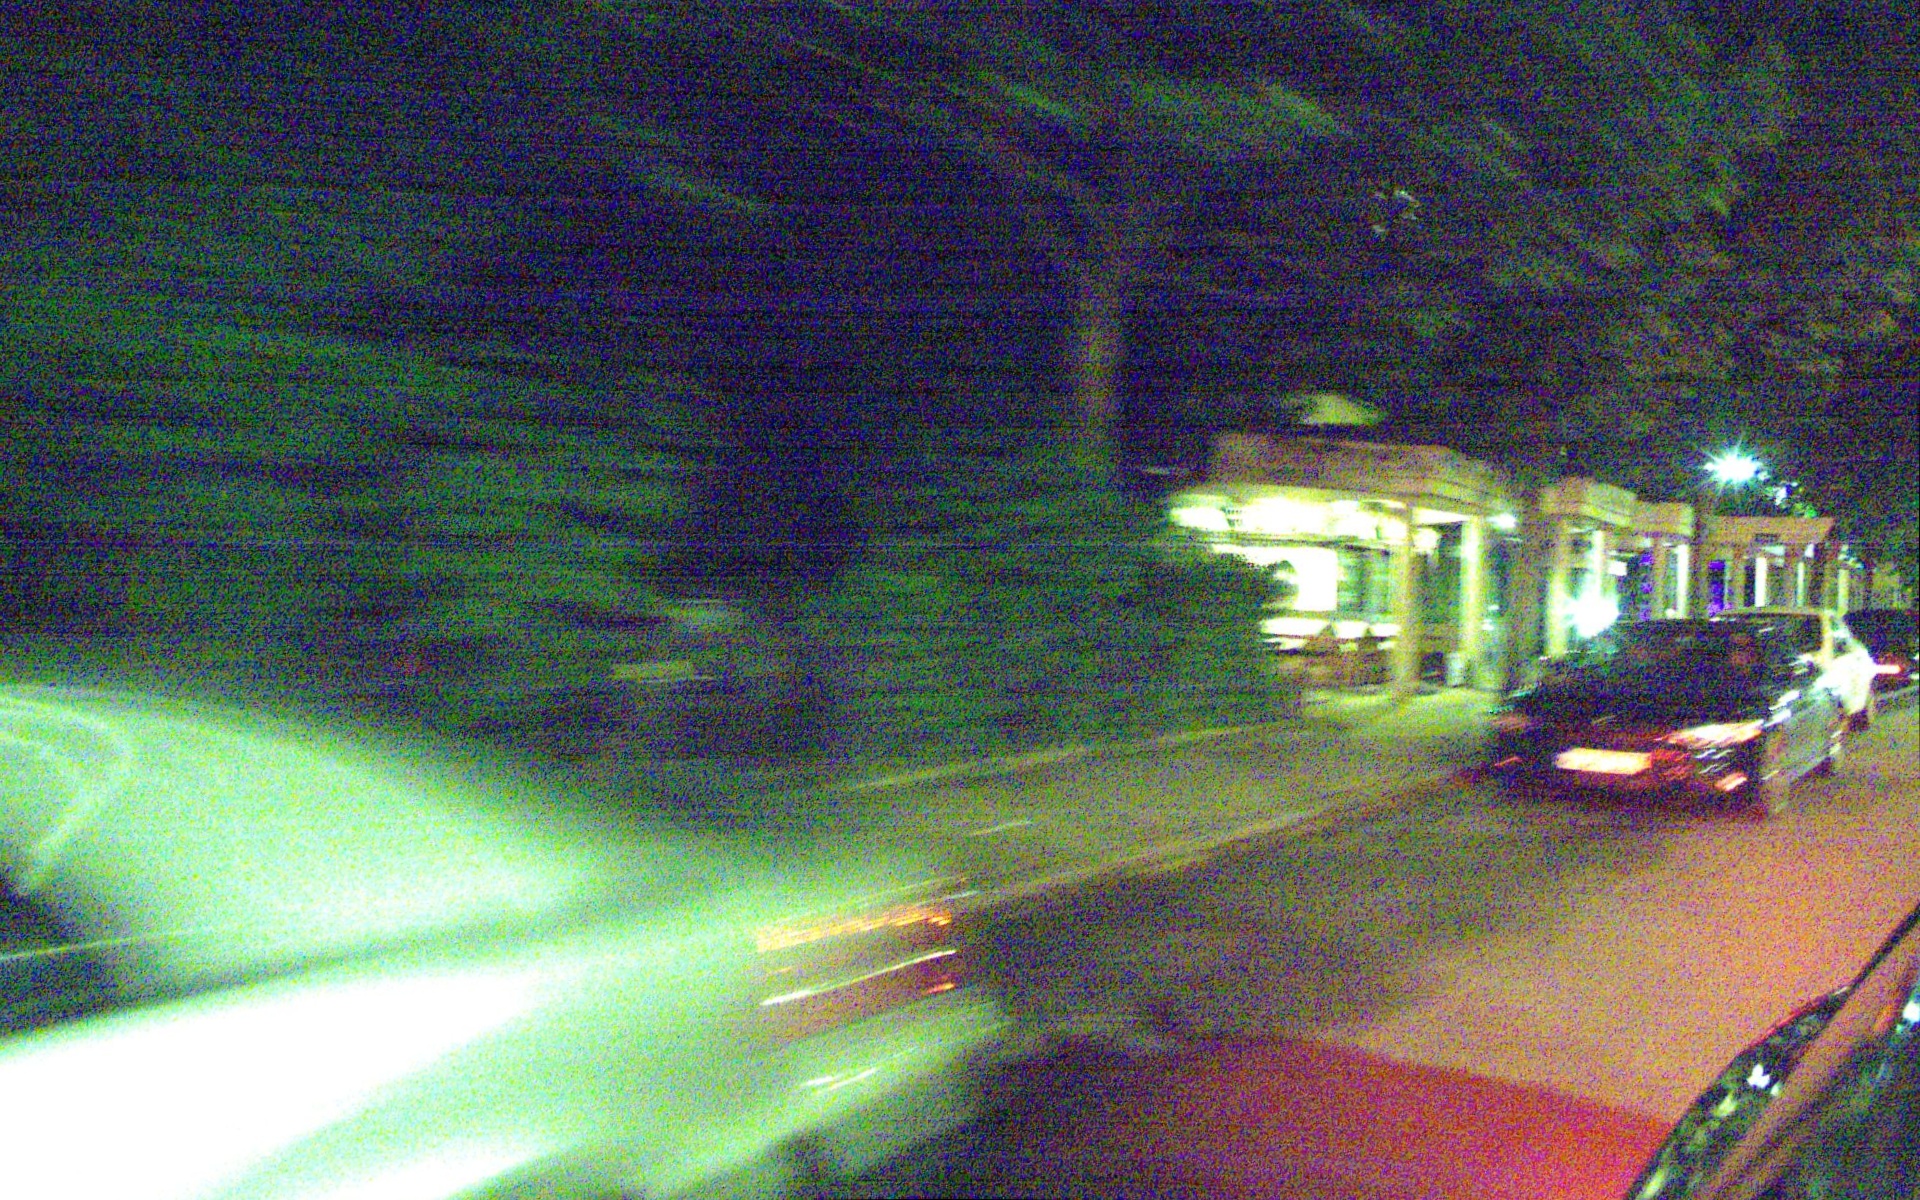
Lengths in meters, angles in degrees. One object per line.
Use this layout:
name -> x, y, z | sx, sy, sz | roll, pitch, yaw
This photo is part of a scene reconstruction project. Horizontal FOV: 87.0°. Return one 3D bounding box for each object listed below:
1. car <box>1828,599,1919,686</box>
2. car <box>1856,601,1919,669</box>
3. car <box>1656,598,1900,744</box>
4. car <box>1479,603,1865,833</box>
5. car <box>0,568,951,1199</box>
car -> 17.446, 0.721, 18.742 | 3.933, 1.465, 1.678 | 0, 0, -43
car -> 21.130, 0.723, 22.343 | 3.456, 1.416, 1.602 | 0, 0, -41
car -> 9.868, 0.730, 12.118 | 3.710, 1.485, 1.641 | 0, -1, -41
car -> 6.146, 0.747, 8.520 | 4.364, 1.434, 1.764 | 0, 0, -42
car -> -2.305, 0.709, 1.118 | 4.527, 1.466, 1.680 | 0, -1, -38
